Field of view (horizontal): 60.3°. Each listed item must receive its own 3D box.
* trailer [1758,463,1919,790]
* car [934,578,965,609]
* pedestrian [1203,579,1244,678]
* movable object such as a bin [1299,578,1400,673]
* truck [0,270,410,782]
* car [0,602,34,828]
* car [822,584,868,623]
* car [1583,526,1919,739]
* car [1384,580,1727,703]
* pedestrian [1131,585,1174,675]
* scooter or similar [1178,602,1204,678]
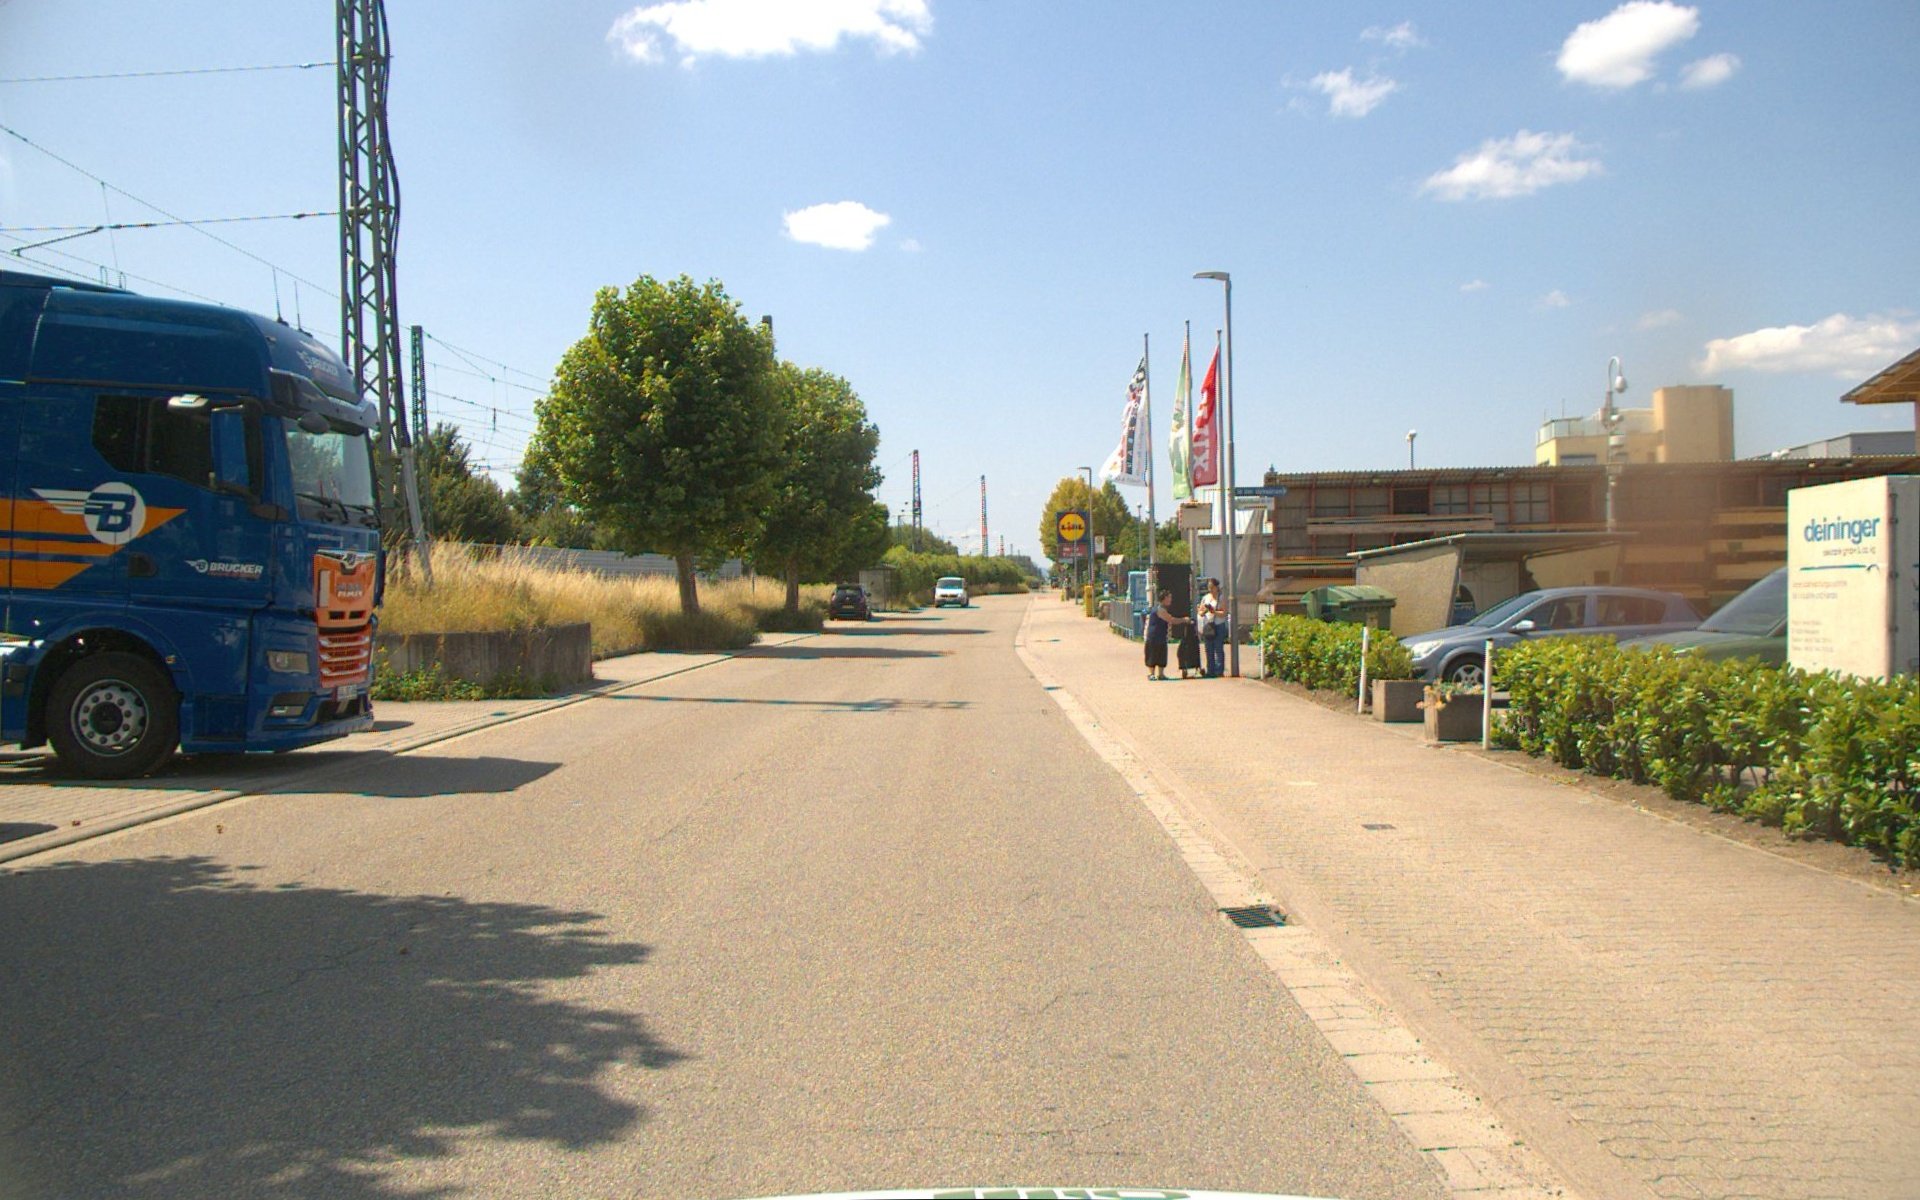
[{"bbox_3d":[7.917,0.134,11.361,3.905,2.049,2.000,-1,0,1],"label":"trailer"},{"bbox_3d":[-0.639,-0.442,104.635,1.800,1.890,4.485,-1,0,1],"label":"car"},{"bbox_3d":[4.298,0.467,26.990,0.524,1.567,0.510,-2,-2,0],"label":"pedestrian"},{"bbox_3d":[6.298,0.396,26.754,1.254,1.484,1.035,0,0,-37],"label":"movable object such as a bin"},{"bbox_3d":[-8.379,-0.528,14.000,6.480,3.890,2.663,-1,0,-1],"label":"truck"},{"bbox_3d":[-8.092,0.758,9.797,4.123,1.419,1.871,-1,0,-2],"label":"car"},{"bbox_3d":[-5.037,0.144,72.872,1.706,1.624,3.580,-1,1,0],"label":"car"},{"bbox_3d":[7.898,0.248,14.509,4.127,1.662,1.800,-2,-2,-1],"label":"car"},{"bbox_3d":[7.566,0.505,21.275,3.766,1.481,1.818,-1,0,1],"label":"car"},{"bbox_3d":[3.155,0.493,27.143,0.582,1.430,0.584,-2,-2,0],"label":"pedestrian"},{"bbox_3d":[3.779,0.658,27.085,0.327,1.219,0.398,-2,-2,1],"label":"scooter or similar"}]
